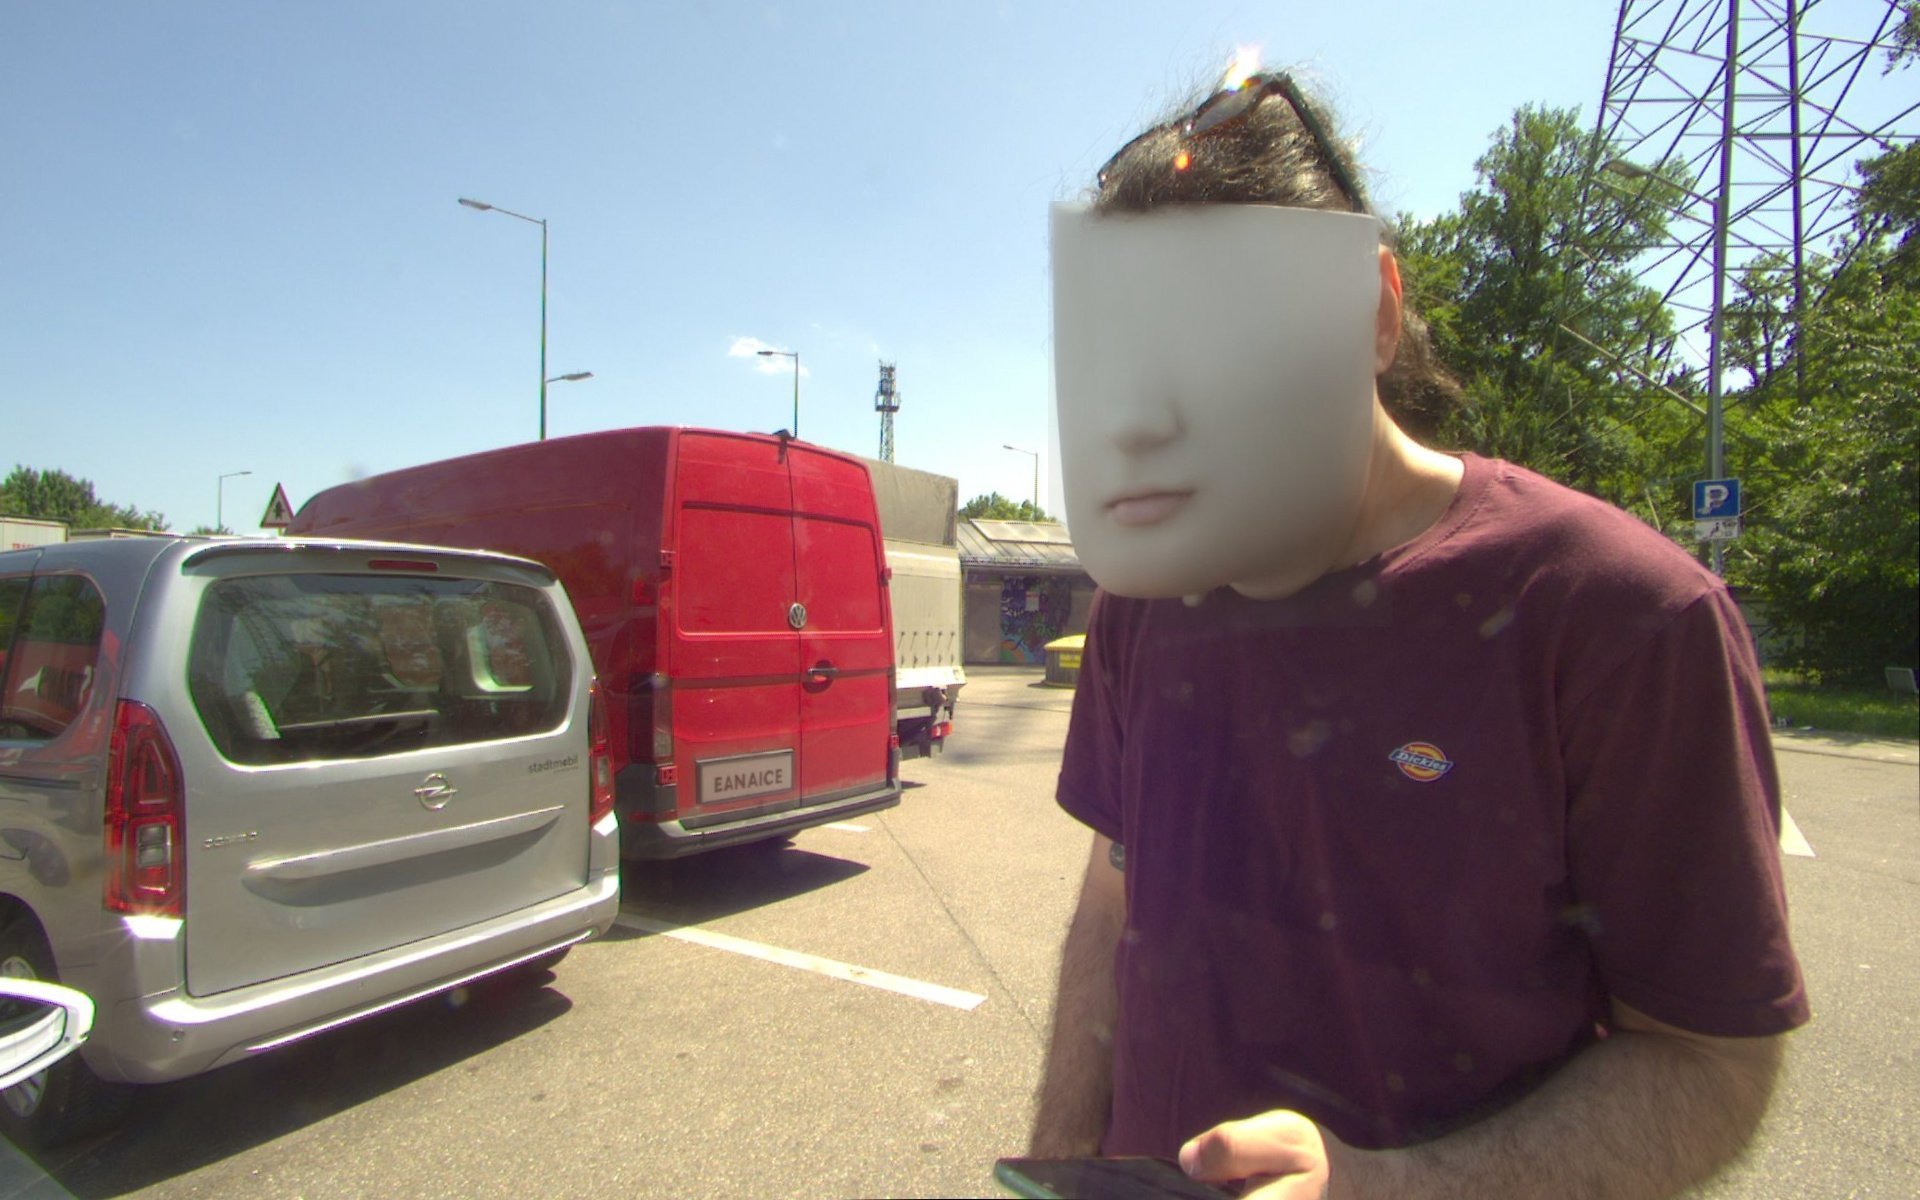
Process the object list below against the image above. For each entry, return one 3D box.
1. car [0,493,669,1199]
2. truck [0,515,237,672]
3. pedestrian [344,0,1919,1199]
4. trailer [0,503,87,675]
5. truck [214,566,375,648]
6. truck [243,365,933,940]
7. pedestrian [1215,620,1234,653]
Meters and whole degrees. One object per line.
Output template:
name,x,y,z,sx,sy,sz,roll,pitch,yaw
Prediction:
car,-3.349,0.639,4.220,3.938,1.776,1.824,0,-1,29
truck,-27.994,-0.124,31.789,14.316,4.175,2.901,0,-3,33
pedestrian,0.226,0.446,0.751,0.926,1.798,0.827,1,0,28
trailer,-28.799,-0.284,28.035,13.374,4.178,2.871,0,-1,33
truck,-30.713,0.329,46.077,8.407,3.482,3.019,0,-1,33
truck,-2.863,0.265,7.005,5.233,2.658,1.987,0,-1,37
pedestrian,11.596,1.597,43.910,0.579,1.402,0.754,1,0,-8
